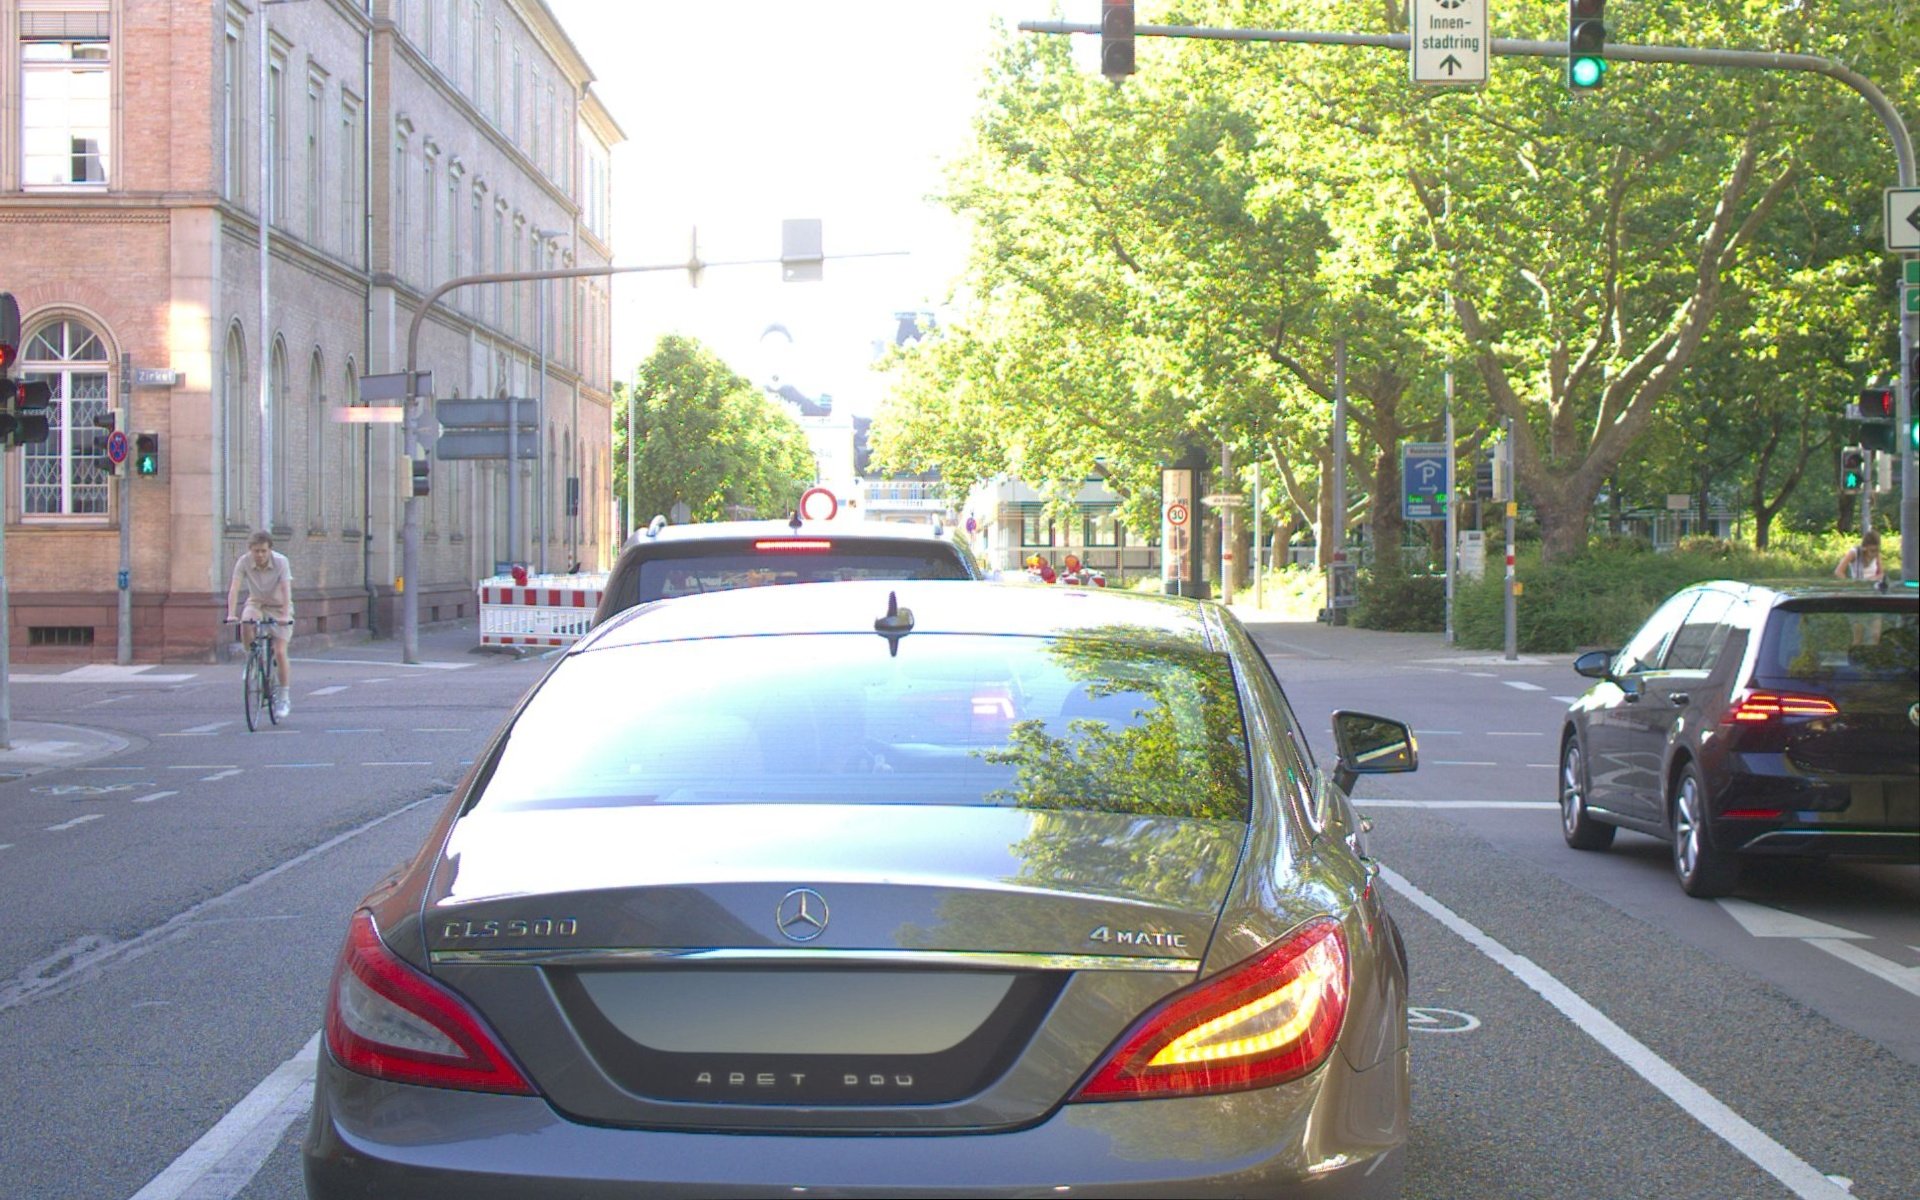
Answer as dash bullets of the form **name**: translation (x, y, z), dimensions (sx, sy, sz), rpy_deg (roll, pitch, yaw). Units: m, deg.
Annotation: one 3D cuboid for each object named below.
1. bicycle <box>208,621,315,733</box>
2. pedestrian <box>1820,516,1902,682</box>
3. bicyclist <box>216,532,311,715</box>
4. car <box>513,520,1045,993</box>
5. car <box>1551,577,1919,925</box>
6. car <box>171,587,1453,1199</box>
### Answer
- **bicycle**: translation (-5.989, 0.647, 29.534), dimensions (0.548, 0.888, 1.868), rpy_deg (1, 1, -1)
- **pedestrian**: translation (9.989, -0.008, 38.148), dimensions (0.732, 1.802, 0.909), rpy_deg (-1, -1, 6)
- **bicyclist**: translation (-5.993, 0.195, 29.615), dimensions (0.648, 1.553, 0.807), rpy_deg (1, 0, -1)
- **car**: translation (-0.581, 0.516, 13.720), dimensions (1.809, 1.607, 4.000), rpy_deg (0, 1, 1)
- **car**: translation (4.047, 0.637, 16.476), dimensions (1.689, 1.435, 3.902), rpy_deg (1, 1, -1)
- **car**: translation (-0.027, 0.710, 7.183), dimensions (1.843, 1.424, 4.516), rpy_deg (1, 1, 5)
